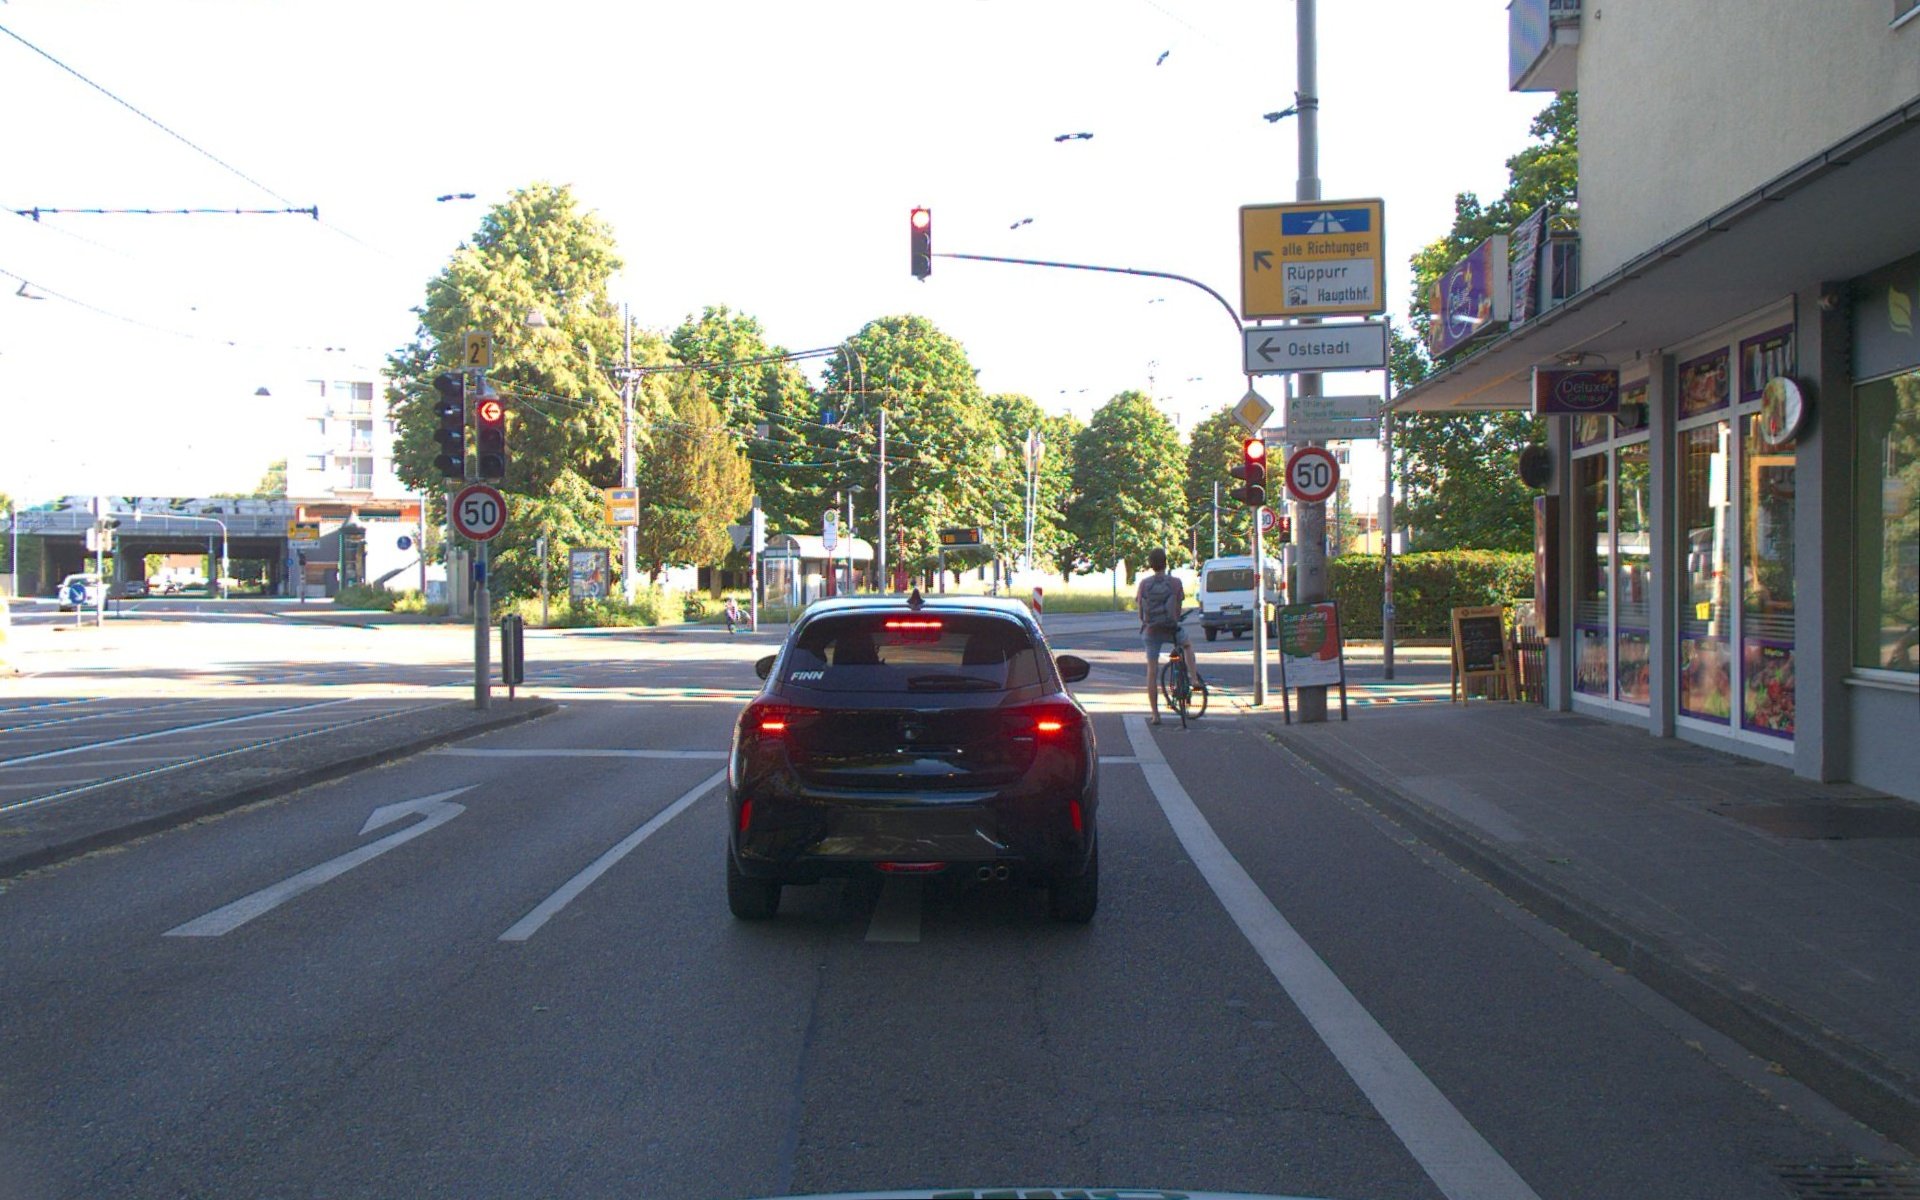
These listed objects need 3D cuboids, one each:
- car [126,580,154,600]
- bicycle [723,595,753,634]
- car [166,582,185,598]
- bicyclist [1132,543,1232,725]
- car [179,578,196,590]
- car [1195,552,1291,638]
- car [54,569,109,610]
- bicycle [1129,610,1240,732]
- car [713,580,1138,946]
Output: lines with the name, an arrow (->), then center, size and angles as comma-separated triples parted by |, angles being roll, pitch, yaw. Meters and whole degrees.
car -> -67.615, -0.805, 136.414 | 1.969, 1.630, 4.211 | -1, 1, -26
bicycle -> -6.212, 0.385, 46.365 | 0.593, 1.049, 1.982 | 0, 1, -1
car -> -97.084, -1.208, 204.656 | 1.971, 1.981, 4.458 | -1, 1, -28
bicyclist -> 2.366, 0.352, 17.695 | 0.922, 1.883, 0.864 | -1, 0, -1
car -> -109.104, -2.270, 233.644 | 1.971, 1.747, 3.962 | -1, 1, -29
car -> 8.018, -0.150, 46.568 | 2.020, 2.288, 4.890 | 0, 1, 17
car -> -41.386, -0.499, 77.851 | 2.189, 1.855, 4.106 | -1, 1, -29
bicycle -> 2.375, 0.719, 17.724 | 0.842, 1.173, 2.171 | -1, 1, -1
car -> -0.157, 0.640, 8.723 | 1.692, 1.454, 4.186 | 1, 0, -1
